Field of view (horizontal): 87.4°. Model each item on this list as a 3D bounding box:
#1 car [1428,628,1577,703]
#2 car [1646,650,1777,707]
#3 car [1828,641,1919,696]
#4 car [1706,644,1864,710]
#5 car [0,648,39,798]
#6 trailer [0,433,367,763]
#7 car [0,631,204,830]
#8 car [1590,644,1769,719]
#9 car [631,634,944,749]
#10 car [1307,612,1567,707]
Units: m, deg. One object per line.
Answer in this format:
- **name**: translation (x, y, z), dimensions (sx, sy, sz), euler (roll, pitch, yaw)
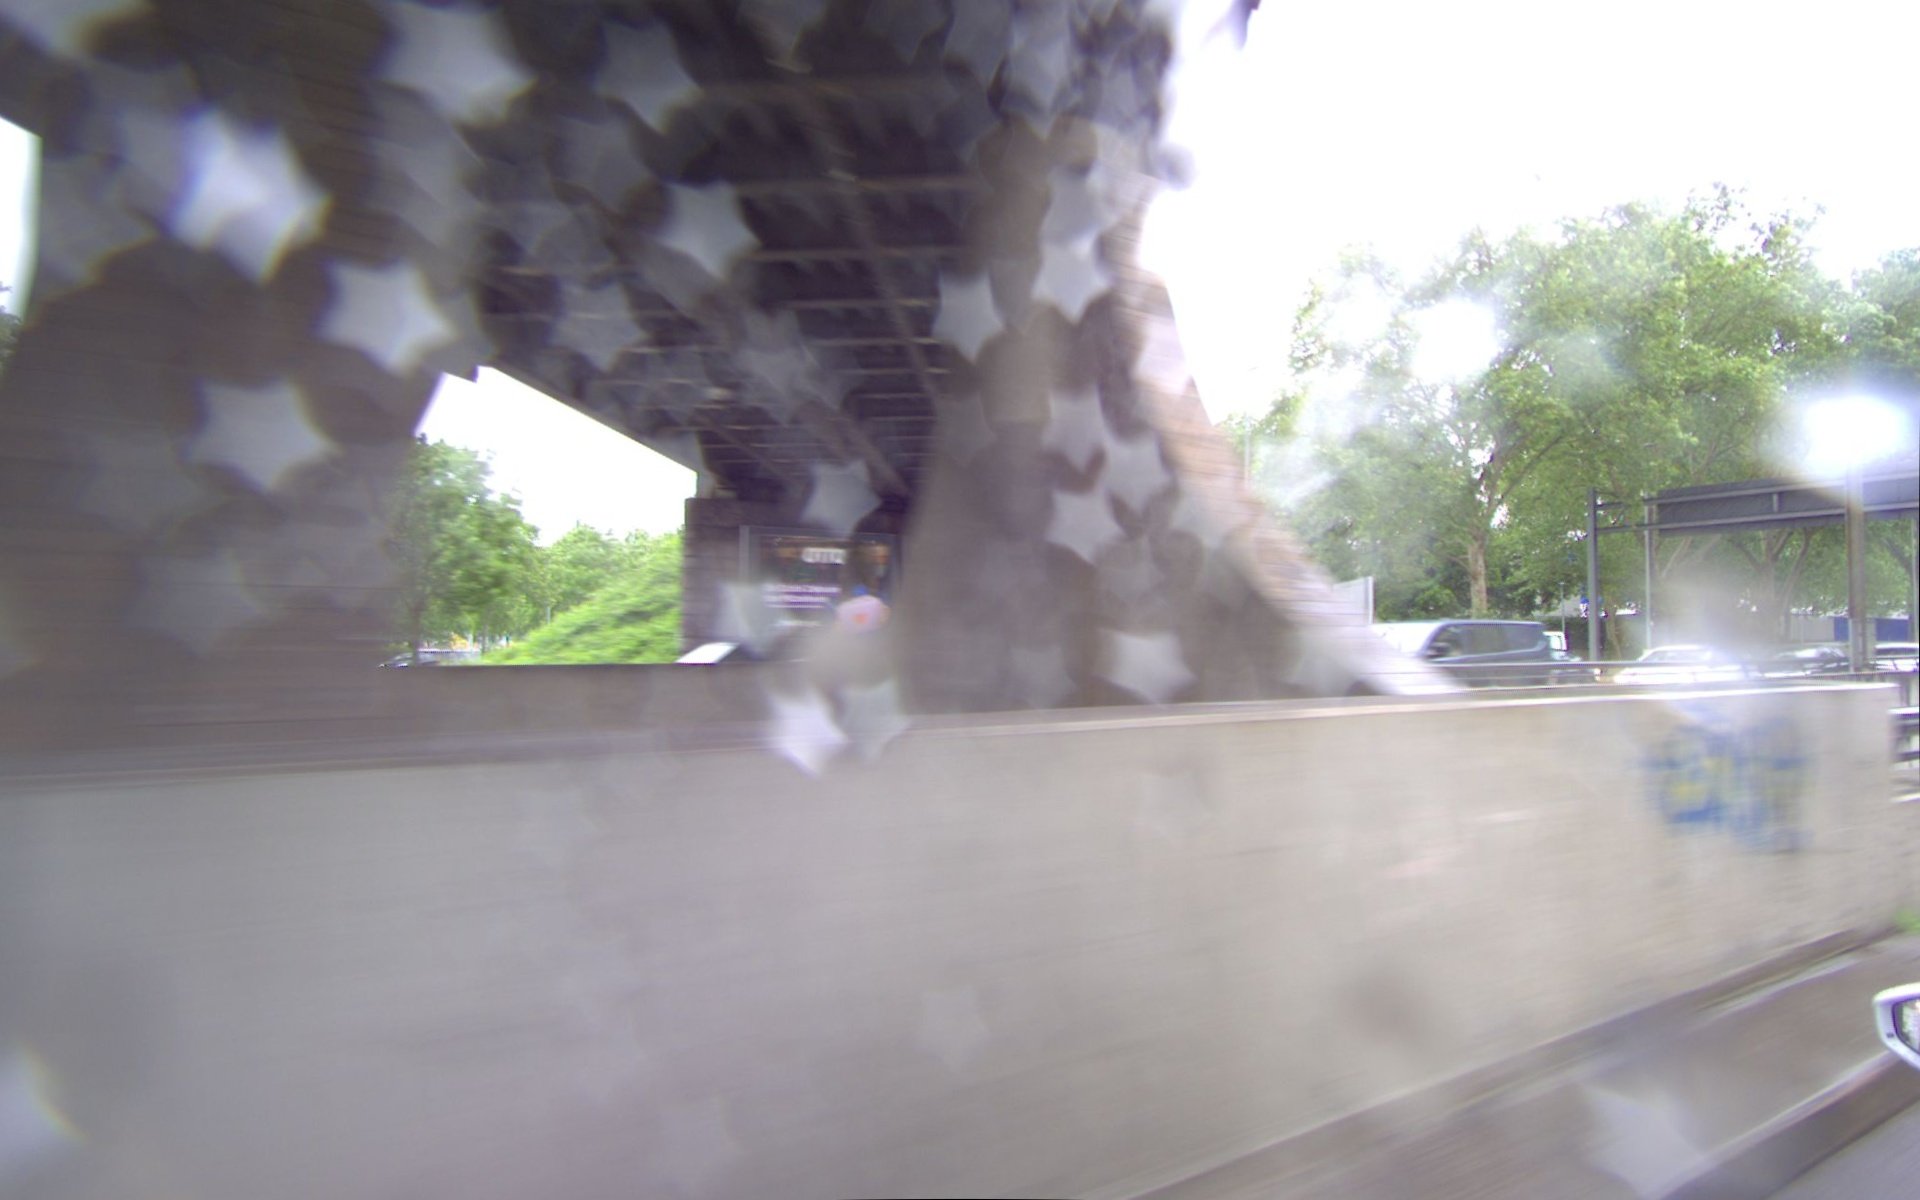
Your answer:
- **car**: translation (17.008, 2.012, 31.450), dimensions (4.787, 2.198, 1.747), euler (1, -3, -28)
- **car**: translation (23.438, 2.399, 31.316), dimensions (4.040, 1.653, 1.839), euler (2, -3, -30)
- **car**: translation (29.914, 2.149, 32.172), dimensions (4.530, 1.653, 1.983), euler (2, -3, -33)
- **car**: translation (22.231, 2.021, 27.043), dimensions (4.040, 1.653, 1.985), euler (2, -3, -30)
- **car**: translation (-12.048, 1.262, 9.939), dimensions (3.956, 1.594, 1.983), euler (2, -3, -32)
- **trailer**: translation (-12.766, 0.009, 13.236), dimensions (8.422, 4.039, 2.668), euler (1, -3, -31)
- **car**: translation (-8.963, 1.057, 8.440), dimensions (3.956, 1.594, 1.983), euler (2, -3, -32)
- **car**: translation (17.220, 1.885, 24.020), dimensions (4.040, 1.653, 1.985), euler (2, -3, -30)
- **car**: translation (-2.672, 1.369, 15.920), dimensions (4.499, 1.594, 1.969), euler (2, -3, -31)
- **car**: translation (9.228, 1.129, 19.244), dimensions (5.482, 1.594, 1.968), euler (2, -3, -34)
